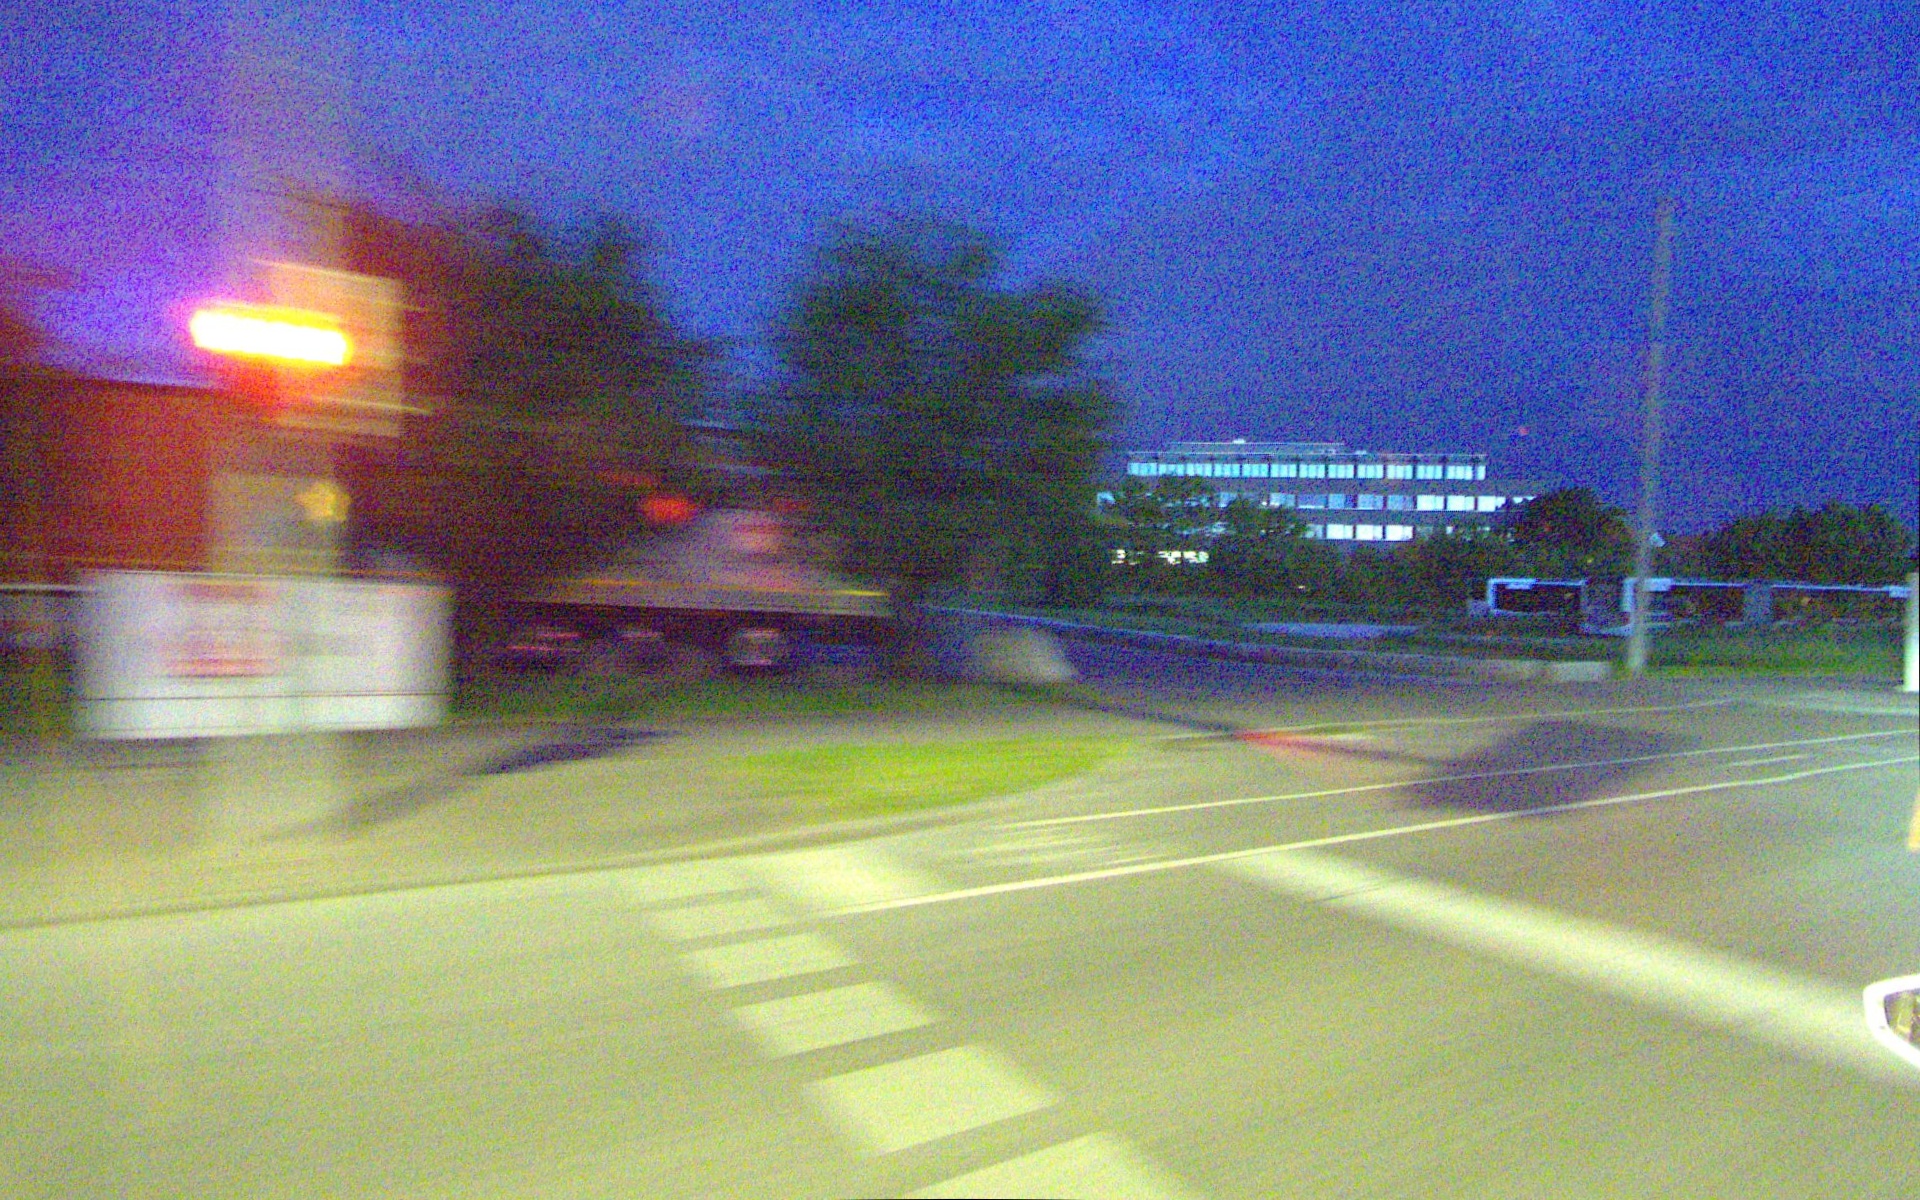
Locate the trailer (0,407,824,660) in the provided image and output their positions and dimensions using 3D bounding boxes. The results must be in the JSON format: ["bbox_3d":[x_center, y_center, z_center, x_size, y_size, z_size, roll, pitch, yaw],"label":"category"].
[{"bbox_3d":[-10.236,-1.171,20.179,14.723,4.204,3.064,1,2,-7],"label":"trailer"}]

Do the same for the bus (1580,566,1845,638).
[{"bbox_3d":[36.183,0.147,48.295,12.457,3.247,3.014,1,1,-14],"label":"bus"}]

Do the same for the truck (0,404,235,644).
[{"bbox_3d":[-17.462,-1.407,19.281,4.844,4.204,3.064,1,2,-7],"label":"truck"}]

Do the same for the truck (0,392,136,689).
[{"bbox_3d":[-15.326,-0.892,14.464,4.427,3.986,3.059,1,2,-14],"label":"truck"}]

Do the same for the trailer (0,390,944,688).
[{"bbox_3d":[-7.824,-0.742,16.342,14.748,3.986,3.059,1,2,-14],"label":"trailer"}]

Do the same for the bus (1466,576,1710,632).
[{"bbox_3d":[35.613,0.212,57.291,12.032,3.023,2.953,1,0,0],"label":"bus"}]
